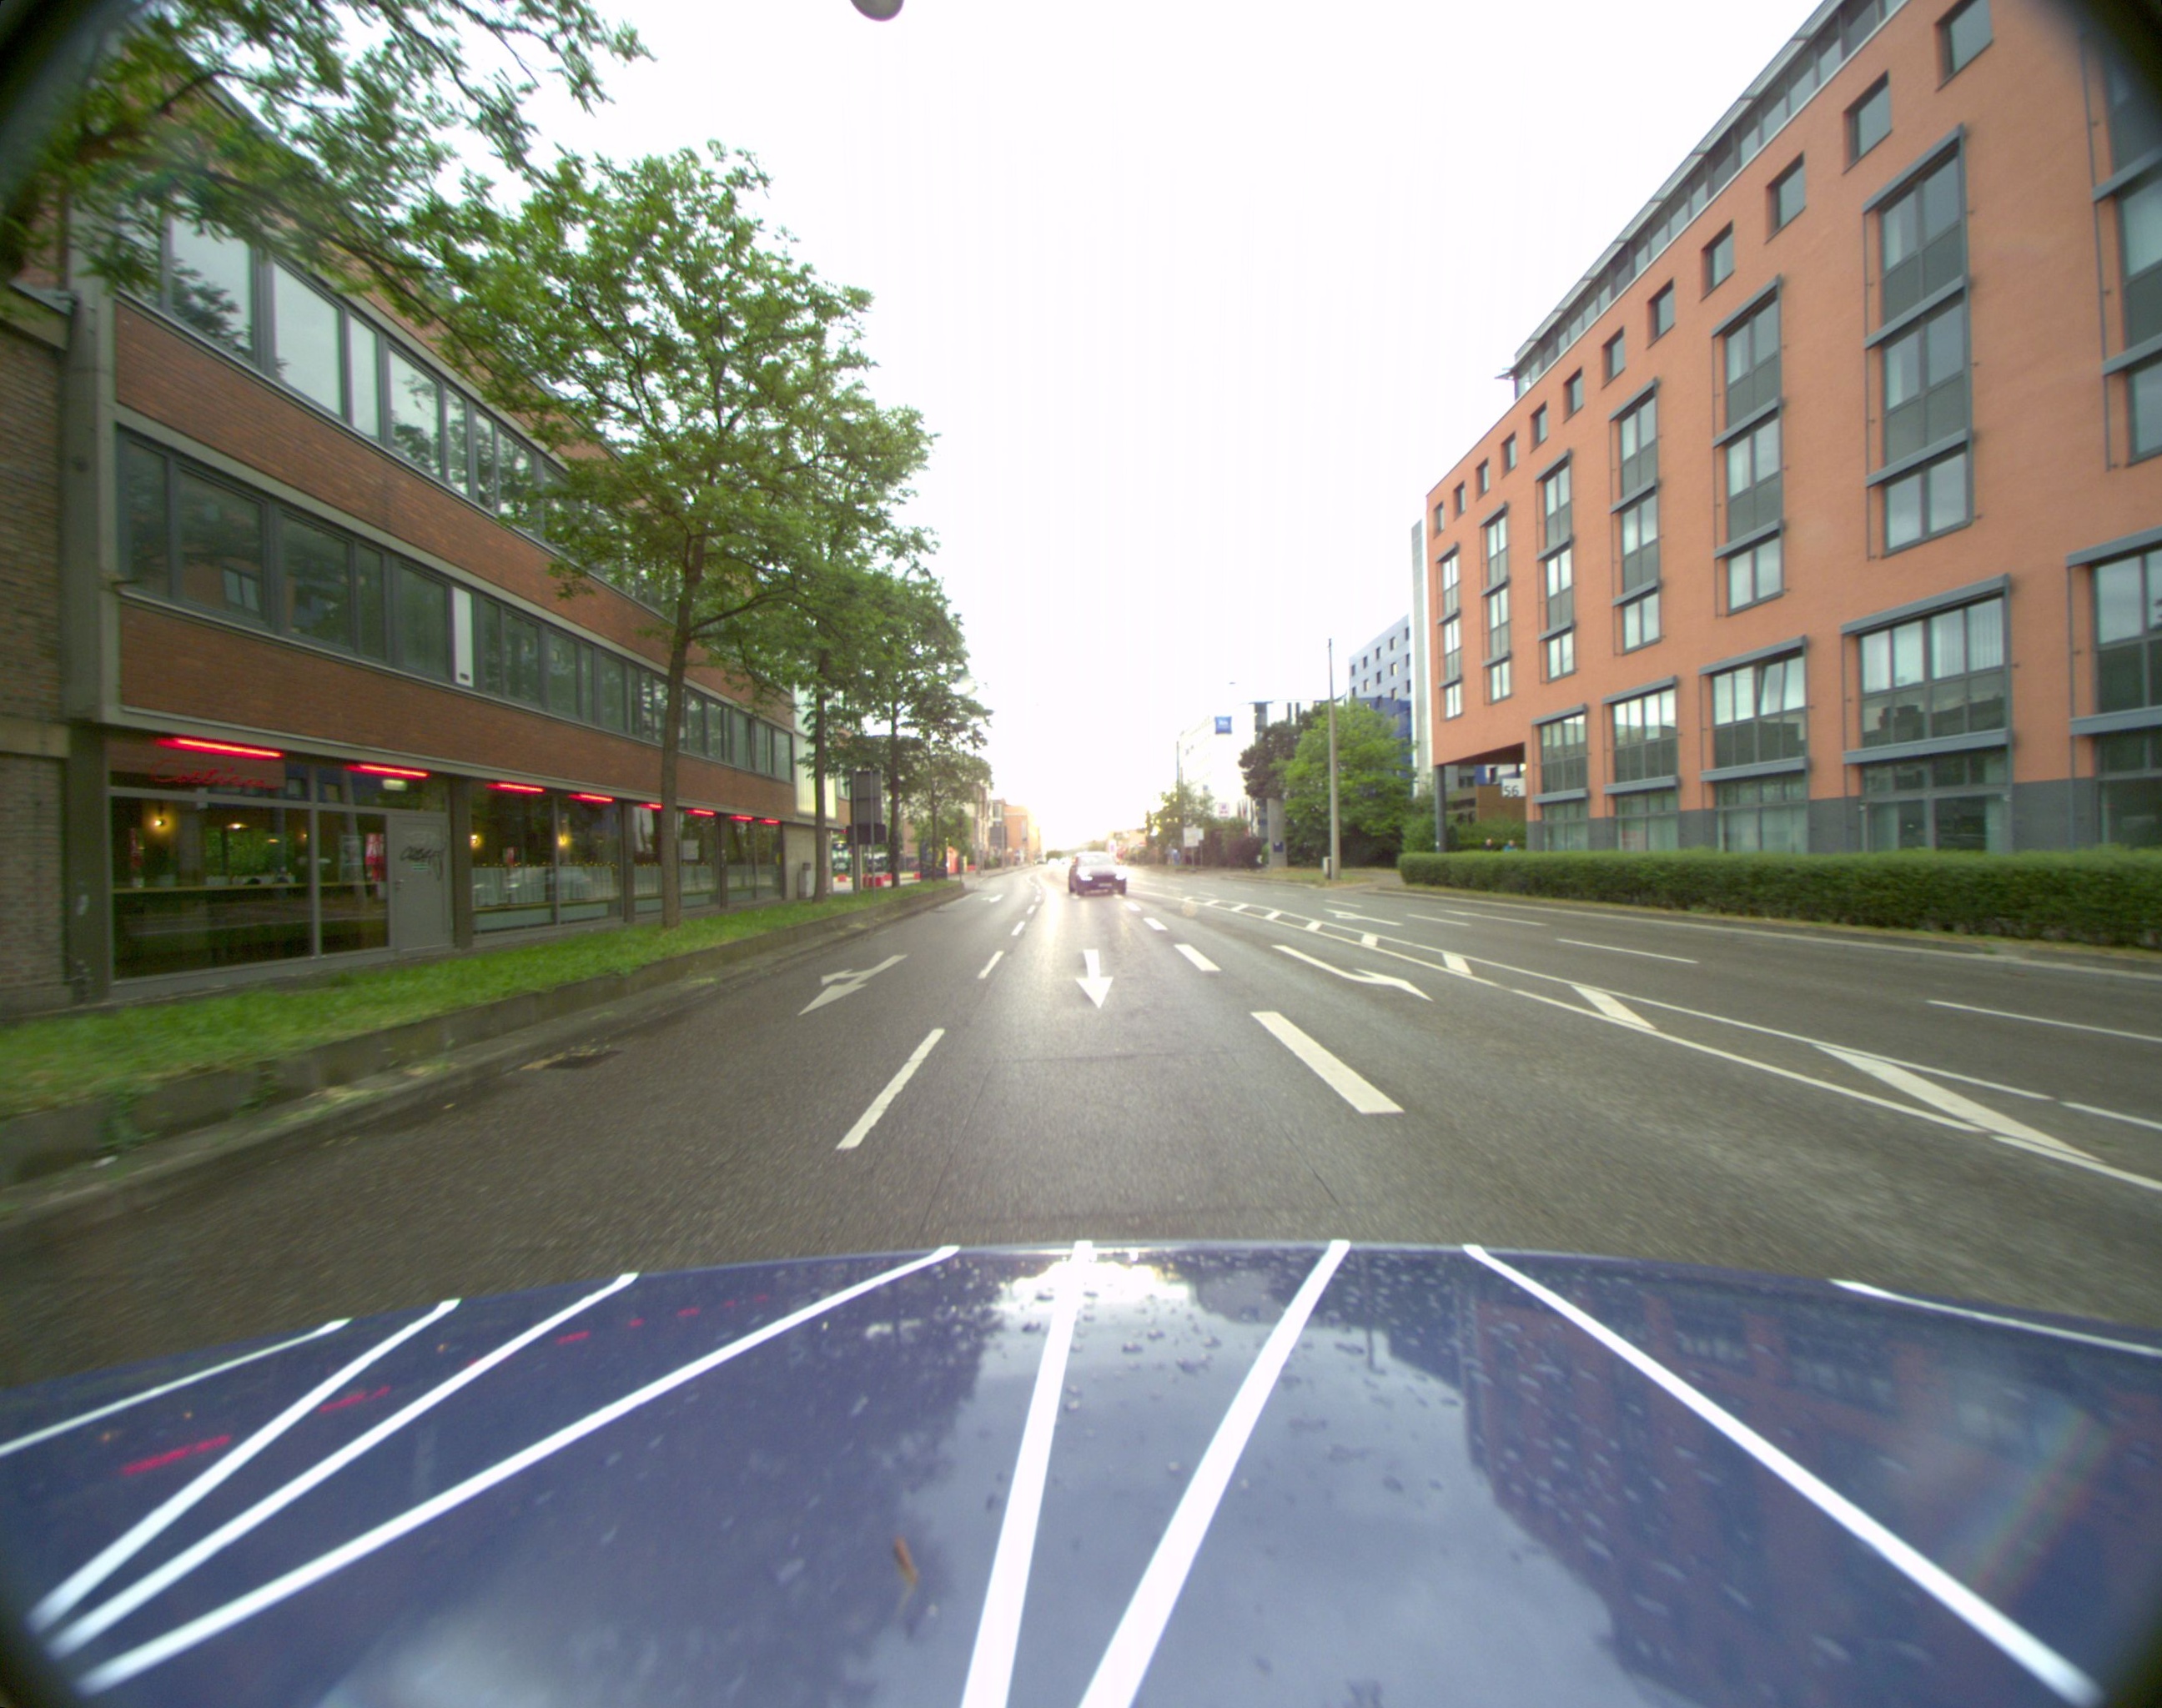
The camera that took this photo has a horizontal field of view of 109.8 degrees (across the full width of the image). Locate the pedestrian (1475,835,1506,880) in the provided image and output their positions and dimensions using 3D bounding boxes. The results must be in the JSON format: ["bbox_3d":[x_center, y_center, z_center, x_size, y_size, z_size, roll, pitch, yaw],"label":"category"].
[{"bbox_3d":[17.133,0.157,31.832,0.747,1.830,0.885,-3,1,-1],"label":"pedestrian"}]

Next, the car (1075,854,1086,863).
[{"bbox_3d":[-0.112,0.726,133.462,1.999,1.543,3.999,-1,0,0],"label":"car"}]

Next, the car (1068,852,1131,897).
[{"bbox_3d":[0.636,0.776,31.230,1.999,1.656,5.422,-1,0,-5],"label":"car"}]

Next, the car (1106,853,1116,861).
[{"bbox_3d":[5.845,0.503,149.315,1.767,1.559,3.999,0,0,-2],"label":"car"}]

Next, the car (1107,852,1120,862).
[{"bbox_3d":[5.666,0.518,132.380,1.767,1.559,3.999,0,0,-3],"label":"car"}]

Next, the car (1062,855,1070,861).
[{"bbox_3d":[-3.706,0.993,185.909,1.799,1.501,4.000,0,-1,0],"label":"car"}]

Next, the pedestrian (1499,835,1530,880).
[{"bbox_3d":[18.044,0.130,31.634,0.747,1.830,0.885,-3,1,-1],"label":"pedestrian"}]
